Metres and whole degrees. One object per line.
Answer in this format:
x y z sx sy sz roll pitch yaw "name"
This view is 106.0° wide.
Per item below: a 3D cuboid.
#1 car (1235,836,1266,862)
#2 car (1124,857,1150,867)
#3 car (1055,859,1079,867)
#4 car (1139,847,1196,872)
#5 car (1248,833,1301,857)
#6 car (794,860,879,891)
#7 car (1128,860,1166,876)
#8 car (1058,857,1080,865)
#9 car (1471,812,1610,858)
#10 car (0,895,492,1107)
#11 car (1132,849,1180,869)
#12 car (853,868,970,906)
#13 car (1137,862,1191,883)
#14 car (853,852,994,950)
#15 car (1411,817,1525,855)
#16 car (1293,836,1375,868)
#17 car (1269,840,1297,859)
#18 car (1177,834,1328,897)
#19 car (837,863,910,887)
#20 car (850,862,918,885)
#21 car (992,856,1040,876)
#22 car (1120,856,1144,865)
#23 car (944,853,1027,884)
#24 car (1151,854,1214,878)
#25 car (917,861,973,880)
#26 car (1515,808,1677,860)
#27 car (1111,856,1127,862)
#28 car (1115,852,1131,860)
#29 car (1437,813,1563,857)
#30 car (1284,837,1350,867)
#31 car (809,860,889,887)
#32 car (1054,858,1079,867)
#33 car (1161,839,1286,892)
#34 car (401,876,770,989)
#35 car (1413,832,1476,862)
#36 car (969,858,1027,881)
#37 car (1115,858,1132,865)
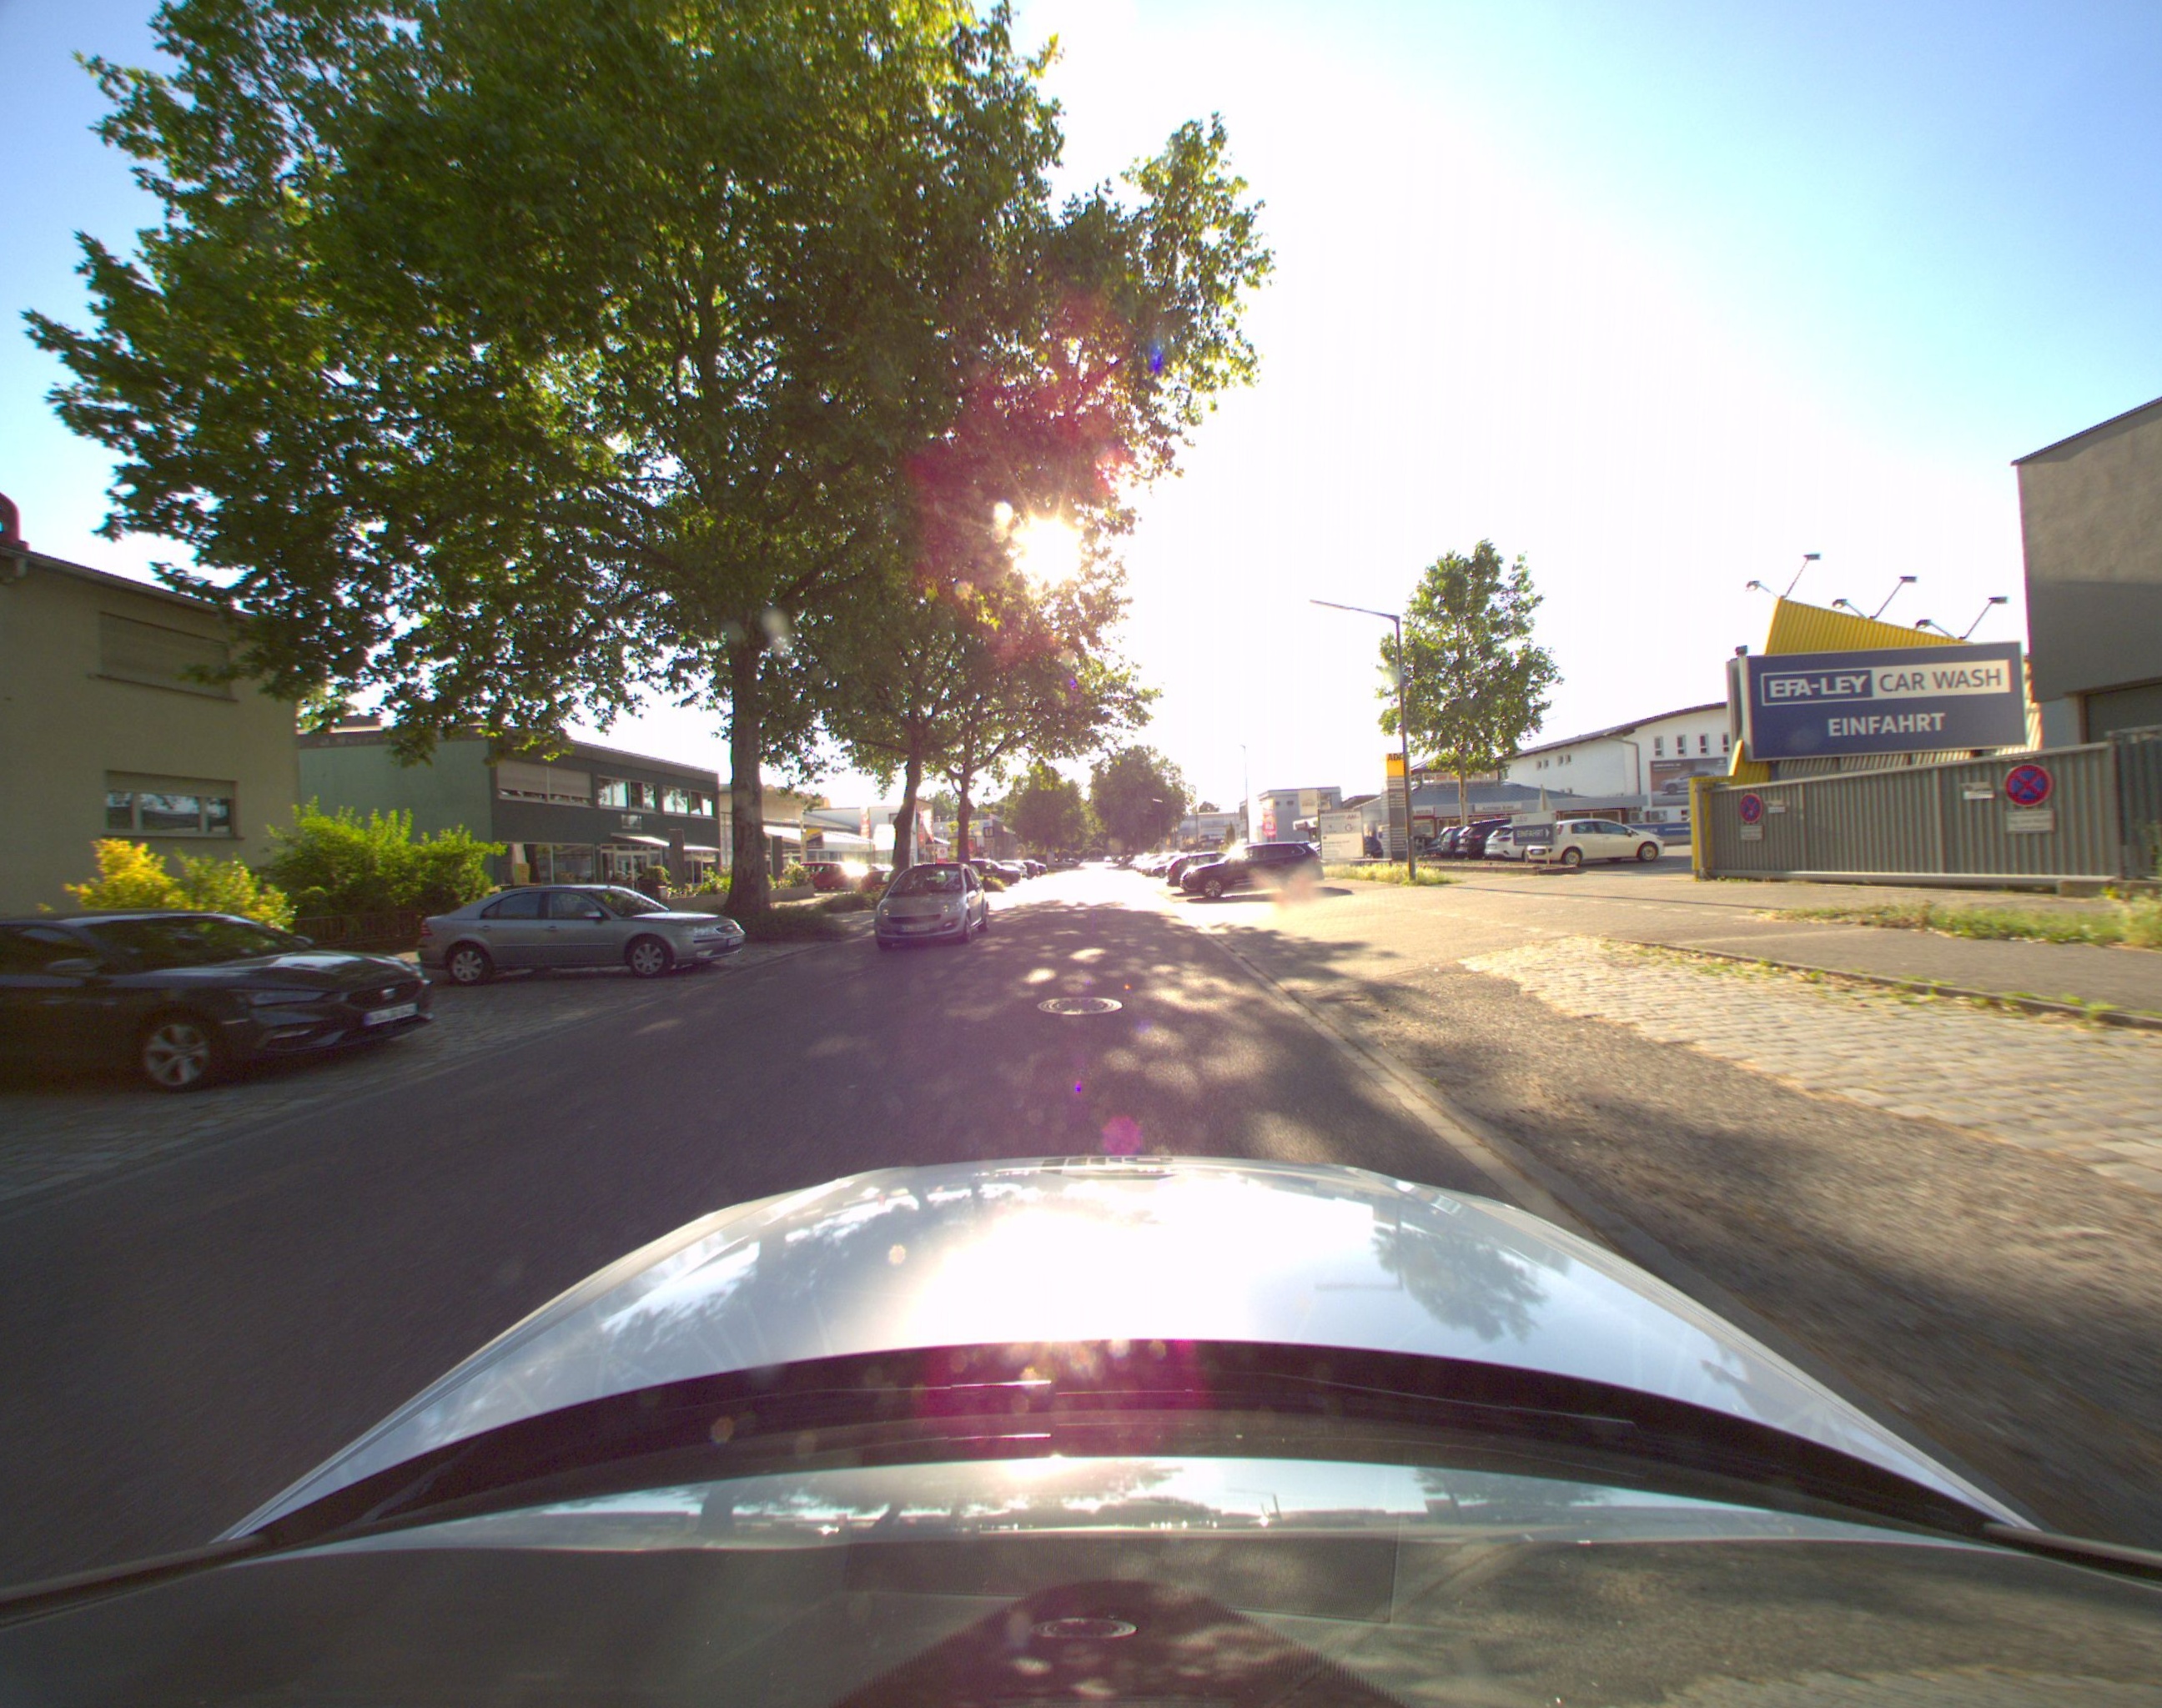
17.577 -0.474 84.712 1.986 2.625 6.139 -1 -1 2 "car"
9.025 1.266 131.106 3.972 1.416 2.001 -3 -1 1 "car"
-2.751 1.707 156.511 4.397 1.517 2.001 -1 -1 3 "car"
6.484 0.431 61.417 3.977 1.588 1.866 -4 -1 -2 "car"
17.059 -0.819 71.909 4.129 1.771 2.001 -4 -1 1 "car"
-15.464 1.353 51.678 4.730 1.819 2.000 -1 -1 0 "car"
8.179 1.751 101.443 4.512 1.673 1.752 -5 -1 -2 "car"
-2.434 1.475 167.075 4.397 1.517 2.001 -1 -1 3 "car"
16.662 -0.661 29.666 3.977 1.519 1.951 -1 -1 -3 "car"
-8.170 1.215 7.225 4.340 1.422 1.999 -2 0 -1 "car"
7.609 0.554 82.981 4.542 1.597 2.200 -5 -1 -2 "car"
-6.832 1.323 33.142 4.281 1.446 2.000 -1 -1 1 "car"
6.951 1.537 68.567 4.233 1.605 1.743 -1 -1 -4 "car"
-2.932 0.839 16.030 1.832 1.571 3.803 -4 -1 1 "car"
16.687 -0.763 35.269 3.977 1.519 1.998 -1 -1 -3 "car"
15.909 -0.086 51.421 4.479 1.898 2.202 -1 -1 1 "car"
20.983 -0.461 84.770 1.986 1.799 4.001 -1 -1 2 "car"
5.639 0.389 27.242 4.581 1.579 2.002 -6 -1 3 "car"
-15.067 1.531 59.317 4.703 1.643 2.000 -1 -1 0 "car"
-14.978 1.484 62.021 4.646 1.592 1.928 -1 -1 0 "car"
-5.854 1.090 73.817 4.219 1.656 2.201 -1 -1 -1 "car"
8.644 1.124 138.465 3.972 1.416 1.827 -3 -1 1 "car"
-6.374 0.983 54.928 5.241 1.898 2.202 -1 -1 1 "car"
6.729 0.790 54.301 3.969 1.296 1.786 -4 -1 4 "car"
-12.804 1.553 76.711 4.929 1.689 1.999 -1 -1 -1 "car"
16.532 -0.617 26.291 3.977 1.497 1.998 -1 -1 -3 "car"
9.624 1.234 206.587 3.972 1.416 1.827 -3 -1 1 "car"
10.766 0.485 209.596 3.972 1.777 1.827 -3 -1 1 "car"
16.597 -0.736 32.385 3.977 1.595 1.998 -1 -1 -3 "car"
16.181 -0.161 56.035 3.919 1.898 2.203 -2 2 1 "car"
-15.476 1.300 54.523 4.698 1.634 2.000 -1 -1 0 "car"
-2.605 1.528 143.744 4.406 1.403 1.997 -1 -1 -4 "car"
5.667 0.461 32.849 4.585 1.613 2.000 -6 -1 1 "car"
-7.667 1.181 12.975 4.583 1.422 2.000 -2 0 1 "car"
22.516 -0.439 50.393 4.020 1.738 1.977 -1 -1 -39 "car"
-6.388 1.167 63.200 4.290 1.656 2.201 -1 -1 -1 "car"
10.072 1.704 193.939 3.972 1.416 1.827 -3 -1 1 "car"
